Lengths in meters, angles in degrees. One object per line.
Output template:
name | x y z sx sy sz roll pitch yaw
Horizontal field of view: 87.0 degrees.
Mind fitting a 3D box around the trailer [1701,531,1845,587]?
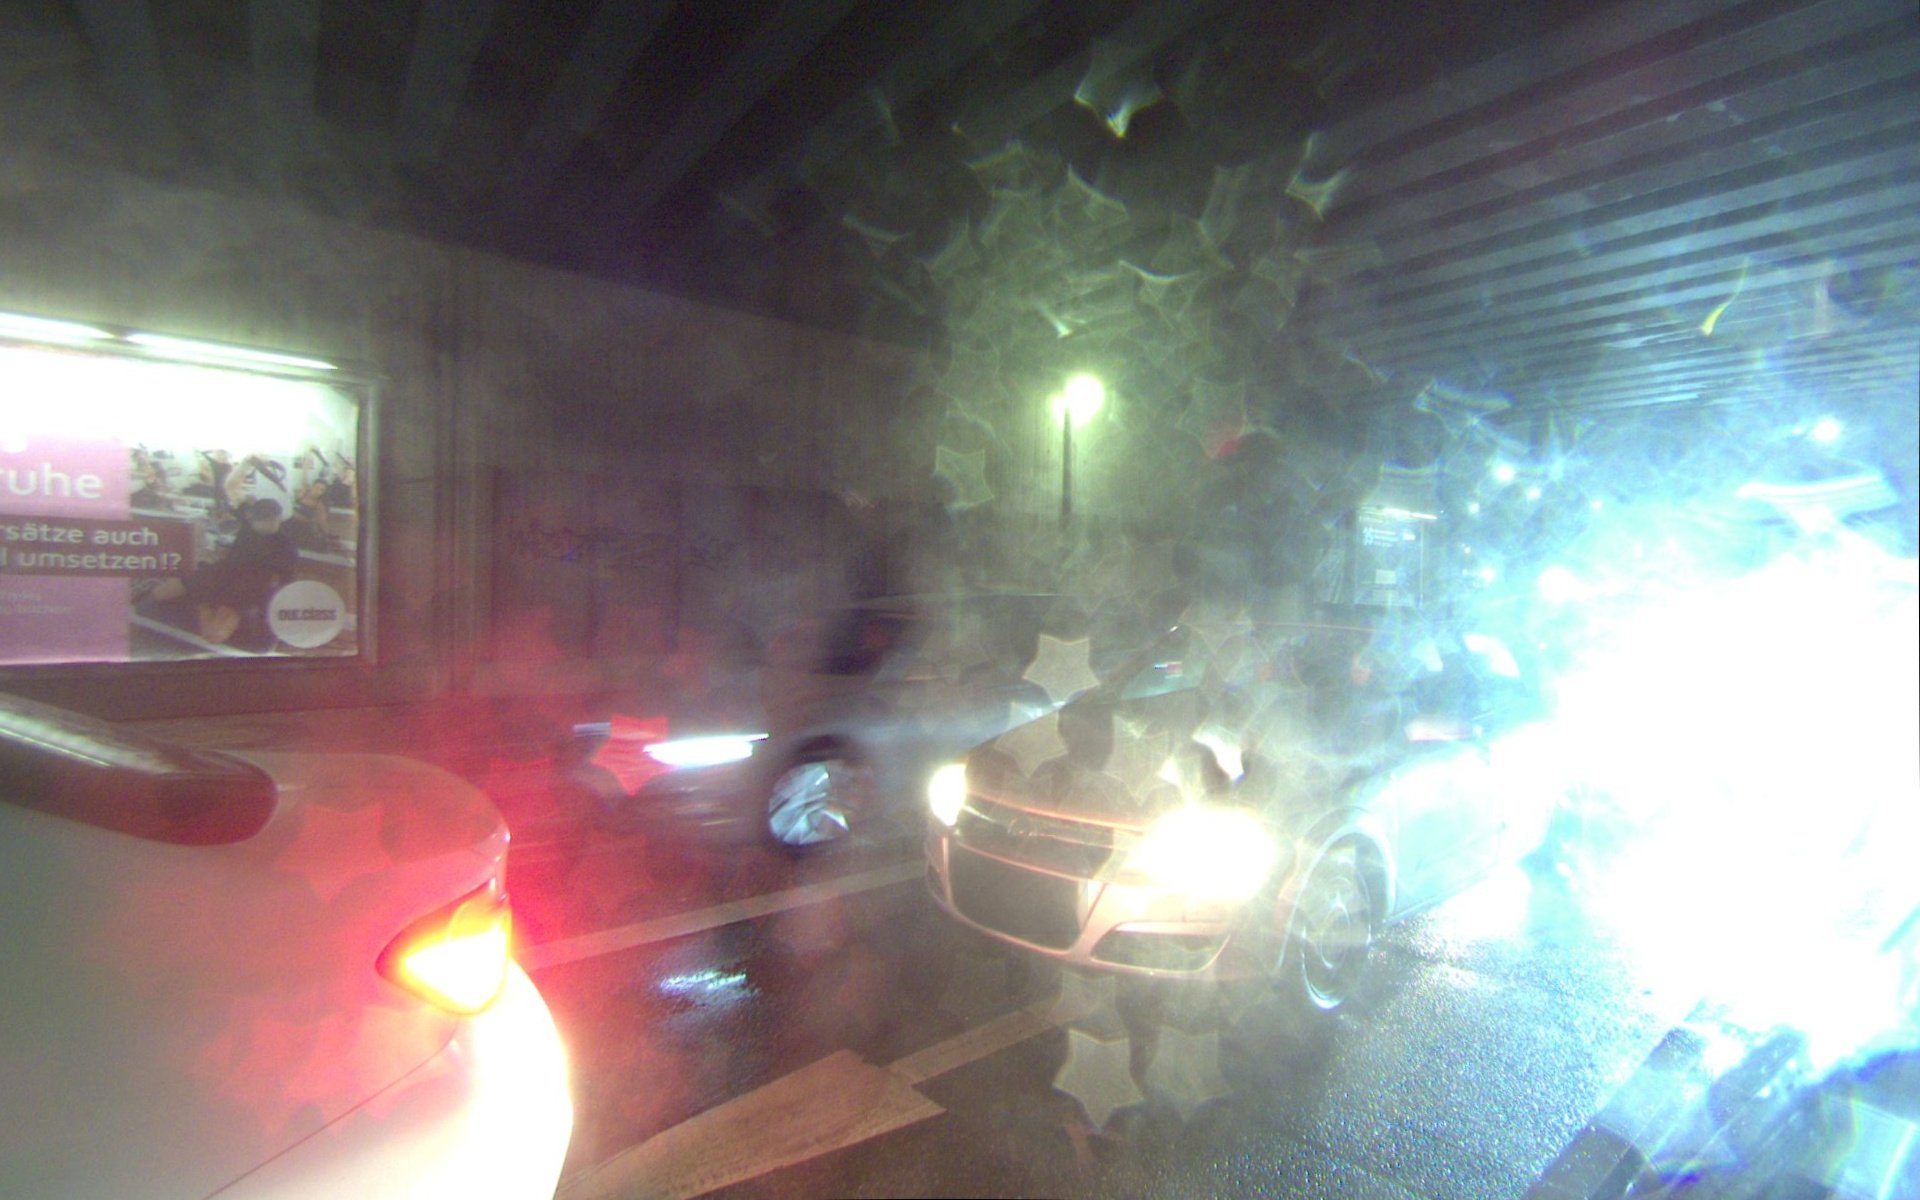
trailer | 67.223 -3.243 84.357 3.912 4.229 13.859 0 0 14

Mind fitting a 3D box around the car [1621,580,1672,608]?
car | 38.028 -0.332 56.134 1.865 1.490 3.961 0 0 28

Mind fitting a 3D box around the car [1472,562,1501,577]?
car | 66.051 -3.866 127.097 1.941 1.763 4.901 0 0 12

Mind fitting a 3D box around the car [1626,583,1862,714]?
car | 10.759 0.546 13.812 3.701 1.531 1.867 -1 0 -41

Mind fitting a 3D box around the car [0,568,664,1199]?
car | -2.676 0.684 0.998 4.273 1.422 1.719 -1 0 -41

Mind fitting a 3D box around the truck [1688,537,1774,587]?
truck | 68.809 -3.309 90.547 3.912 4.229 6.348 0 0 15

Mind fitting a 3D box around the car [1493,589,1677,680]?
car | 11.770 0.561 18.925 4.426 1.474 1.850 0 1 -43

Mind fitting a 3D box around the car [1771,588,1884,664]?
car | 18.738 0.492 21.808 1.678 1.490 3.938 0 0 43

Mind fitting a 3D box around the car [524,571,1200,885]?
car | -0.395 0.615 7.113 4.551 1.503 1.850 1 1 -43

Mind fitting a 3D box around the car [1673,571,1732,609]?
car | 30.850 -0.455 42.140 1.842 1.449 4.446 0 2 35

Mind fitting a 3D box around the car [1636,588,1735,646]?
car | 21.017 0.418 29.253 1.847 1.449 4.434 0 2 42

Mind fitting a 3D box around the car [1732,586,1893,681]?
car | 15.355 0.511 18.163 3.930 1.522 1.628 -1 0 -41

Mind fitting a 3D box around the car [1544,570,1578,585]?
car | 61.867 -2.286 104.202 1.854 1.490 3.984 0 0 13

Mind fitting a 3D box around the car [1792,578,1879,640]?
car | 24.574 0.210 28.364 1.737 1.610 3.939 0 0 42

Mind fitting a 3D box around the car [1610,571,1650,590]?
car | 55.817 -1.624 84.349 1.859 1.490 3.974 0 0 20

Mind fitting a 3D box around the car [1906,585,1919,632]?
car | 31.792 0.290 32.303 1.844 1.503 4.424 2 1 37

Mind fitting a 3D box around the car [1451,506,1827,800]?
car | 6.494 0.357 9.490 4.274 2.115 1.996 -1 0 -43

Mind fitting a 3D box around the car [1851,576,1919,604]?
car | 60.566 -0.677 66.088 1.947 1.763 4.886 0 0 20

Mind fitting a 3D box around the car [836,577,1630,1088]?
car | 1.551 0.620 4.834 3.931 1.384 1.791 -2 2 -41
